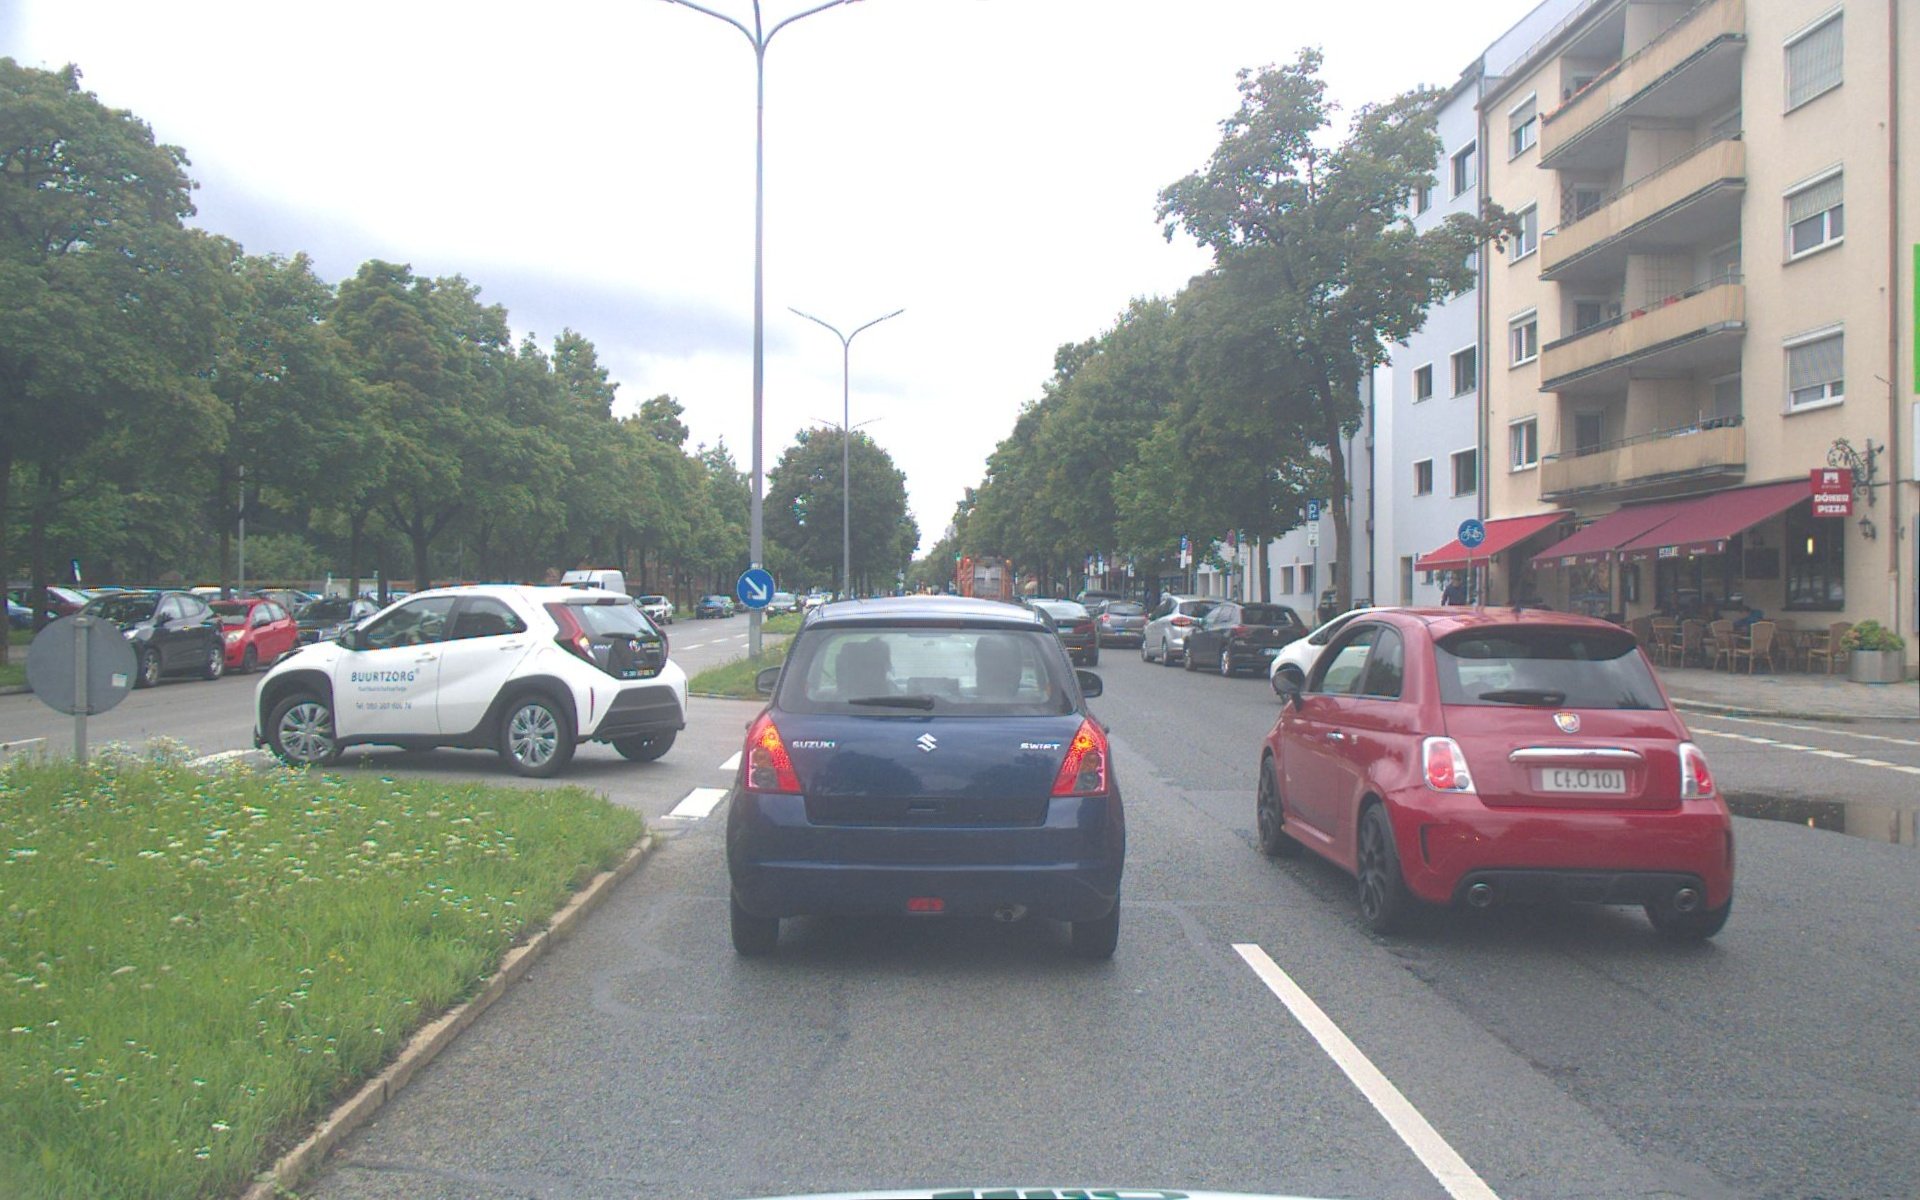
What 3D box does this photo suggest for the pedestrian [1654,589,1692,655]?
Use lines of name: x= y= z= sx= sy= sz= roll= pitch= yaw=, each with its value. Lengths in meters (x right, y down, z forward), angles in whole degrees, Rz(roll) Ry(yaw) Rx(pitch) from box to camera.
pedestrian: x=14.853 y=0.460 z=34.464 sx=0.527 sy=1.362 sz=0.552 roll=0 pitch=0 yaw=-2

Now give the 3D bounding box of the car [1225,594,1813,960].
car: x=2.706 y=0.741 z=9.122 sx=1.684 sy=1.527 sz=4.299 roll=1 pitch=0 yaw=-2

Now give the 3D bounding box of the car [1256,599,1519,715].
car: x=6.098 y=0.761 z=23.841 sx=1.675 sy=1.516 sz=3.388 roll=0 pitch=0 yaw=-38

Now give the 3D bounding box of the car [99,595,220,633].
car: x=-31.996 y=0.549 z=66.203 sx=3.911 sy=1.467 sz=1.997 roll=0 pitch=0 yaw=-7

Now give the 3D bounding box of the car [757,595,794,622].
car: x=-10.786 y=0.480 z=96.679 sx=1.779 sy=1.473 sz=4.780 roll=-1 pitch=0 yaw=-2

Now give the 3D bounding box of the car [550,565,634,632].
car: x=-15.754 y=-0.110 z=71.233 sx=2.096 sy=2.690 sz=7.104 roll=-1 pitch=1 yaw=-1

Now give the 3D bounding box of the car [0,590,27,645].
car: x=-27.652 y=0.446 z=44.401 sx=4.053 sy=1.467 sz=1.999 roll=0 pitch=0 yaw=-4

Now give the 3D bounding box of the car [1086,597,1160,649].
car: x=5.028 y=0.694 z=51.452 sx=1.793 sy=1.549 sz=3.769 roll=0 pitch=0 yaw=-3

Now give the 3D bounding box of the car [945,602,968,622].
car: x=-0.284 y=0.920 z=131.411 sx=1.792 sy=1.549 sz=3.770 roll=0 pitch=0 yaw=-1

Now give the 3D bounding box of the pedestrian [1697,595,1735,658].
pedestrian: x=14.829 y=0.517 z=32.453 sx=0.527 sy=1.235 sz=0.487 roll=0 pitch=0 yaw=-1

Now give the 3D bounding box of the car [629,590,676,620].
car: x=-15.999 y=0.265 z=86.278 sx=1.820 sy=1.517 sz=4.140 roll=0 pitch=-1 yaw=-3

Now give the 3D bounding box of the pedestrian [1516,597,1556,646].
pedestrian: x=14.048 y=0.520 z=40.350 sx=0.728 sy=1.183 sz=0.646 roll=0 pitch=0 yaw=-2

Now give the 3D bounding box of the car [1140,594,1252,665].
car: x=5.476 y=0.649 z=38.922 sx=1.793 sy=1.549 sz=4.521 roll=0 pitch=0 yaw=-3

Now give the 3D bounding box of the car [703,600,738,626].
car: x=-15.783 y=0.859 z=109.356 sx=1.849 sy=1.564 sz=4.312 roll=-2 pitch=0 yaw=-3

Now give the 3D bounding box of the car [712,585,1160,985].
car: x=-0.109 y=0.704 z=8.362 sx=1.717 sy=1.531 sz=3.999 roll=0 pitch=0 yaw=-1

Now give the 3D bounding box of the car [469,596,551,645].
car: x=-15.411 y=0.709 z=56.895 sx=1.785 sy=1.554 sz=4.296 roll=-2 pitch=-1 yaw=-3

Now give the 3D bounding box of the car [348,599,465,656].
car: x=-15.097 y=0.728 z=45.347 sx=1.784 sy=1.434 sz=4.000 roll=-2 pitch=0 yaw=1

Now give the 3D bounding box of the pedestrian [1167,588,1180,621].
pedestrian: x=11.024 y=0.232 z=85.301 sx=0.538 sy=1.658 sz=0.641 roll=-1 pitch=0 yaw=-1

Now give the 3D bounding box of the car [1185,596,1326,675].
car: x=5.898 y=0.668 z=33.421 sx=1.794 sy=1.499 sz=3.883 roll=0 pitch=0 yaw=-6

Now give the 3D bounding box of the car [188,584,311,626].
car: x=-27.108 y=0.178 z=63.210 sx=3.905 sy=1.598 sz=1.814 roll=0 pitch=0 yaw=0

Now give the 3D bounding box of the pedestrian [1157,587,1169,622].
pedestrian: x=10.452 y=0.218 z=85.279 sx=0.489 sy=1.763 sz=0.732 roll=-1 pitch=0 yaw=-1

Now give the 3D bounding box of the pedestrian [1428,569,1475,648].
pedestrian: x=12.318 y=0.215 z=41.495 sx=0.854 sy=1.963 sz=0.757 roll=0 pitch=0 yaw=-18

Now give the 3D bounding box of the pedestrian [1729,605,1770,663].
pedestrian: x=14.703 y=0.631 z=30.809 sx=0.527 sy=1.072 sz=0.487 roll=0 pitch=0 yaw=-1

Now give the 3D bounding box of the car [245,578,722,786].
car: x=-4.083 y=0.615 z=14.227 sx=3.634 sy=1.580 sz=1.826 roll=0 pitch=0 yaw=24

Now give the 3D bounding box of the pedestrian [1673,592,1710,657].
pedestrian: x=14.745 y=0.491 z=33.359 sx=0.527 sy=1.290 sz=0.486 roll=0 pitch=0 yaw=-3

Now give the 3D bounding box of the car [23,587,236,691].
car: x=-14.718 y=0.679 z=29.586 sx=1.785 sy=1.729 sz=4.237 roll=0 pitch=-1 yaw=-3

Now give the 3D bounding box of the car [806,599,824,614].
car: x=-15.578 y=0.670 z=177.746 sx=1.726 sy=1.564 sz=4.311 roll=-2 pitch=0 yaw=-4

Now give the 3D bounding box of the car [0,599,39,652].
car: x=-28.570 y=0.700 z=46.750 sx=3.911 sy=1.467 sz=1.997 roll=0 pitch=0 yaw=-7

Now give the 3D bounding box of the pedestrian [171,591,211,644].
pedestrian: x=-22.557 y=0.510 z=48.512 sx=0.778 sy=1.521 sz=0.856 roll=0 pitch=0 yaw=-1

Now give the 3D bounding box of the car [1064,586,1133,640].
car: x=4.699 y=0.415 z=56.545 sx=1.793 sy=1.776 sz=4.506 roll=0 pitch=0 yaw=-3

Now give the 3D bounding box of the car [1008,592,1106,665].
car: x=2.151 y=0.602 z=37.835 sx=1.785 sy=1.503 sz=4.689 roll=2 pitch=0 yaw=-2

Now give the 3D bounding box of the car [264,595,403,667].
car: x=-14.961 y=0.699 z=39.725 sx=1.784 sy=1.627 sz=4.112 roll=0 pitch=0 yaw=0

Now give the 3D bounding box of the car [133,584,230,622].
car: x=-43.133 y=0.181 z=91.695 sx=4.415 sy=2.070 sz=1.999 roll=0 pitch=0 yaw=-2

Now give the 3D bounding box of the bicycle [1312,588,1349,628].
bicycle: x=13.602 y=0.282 z=60.794 sx=0.688 sy=1.432 sz=2.592 roll=-2 pitch=0 yaw=-1

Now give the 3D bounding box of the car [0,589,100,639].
car: x=-28.343 y=0.399 z=49.733 sx=3.911 sy=1.467 sz=1.997 roll=0 pitch=0 yaw=-7

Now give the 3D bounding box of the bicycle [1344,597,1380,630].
bicycle: x=13.725 y=0.445 z=56.546 sx=0.609 sy=1.064 sz=2.195 roll=-4 pitch=0 yaw=-1

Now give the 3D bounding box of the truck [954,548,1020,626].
truck: x=1.232 y=-0.635 z=84.016 sx=2.979 sy=3.619 sz=13.672 roll=0 pitch=0 yaw=-1

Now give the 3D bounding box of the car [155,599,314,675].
car: x=-15.188 y=0.774 z=34.831 sx=1.785 sy=1.505 sz=3.808 roll=0 pitch=-1 yaw=-3
